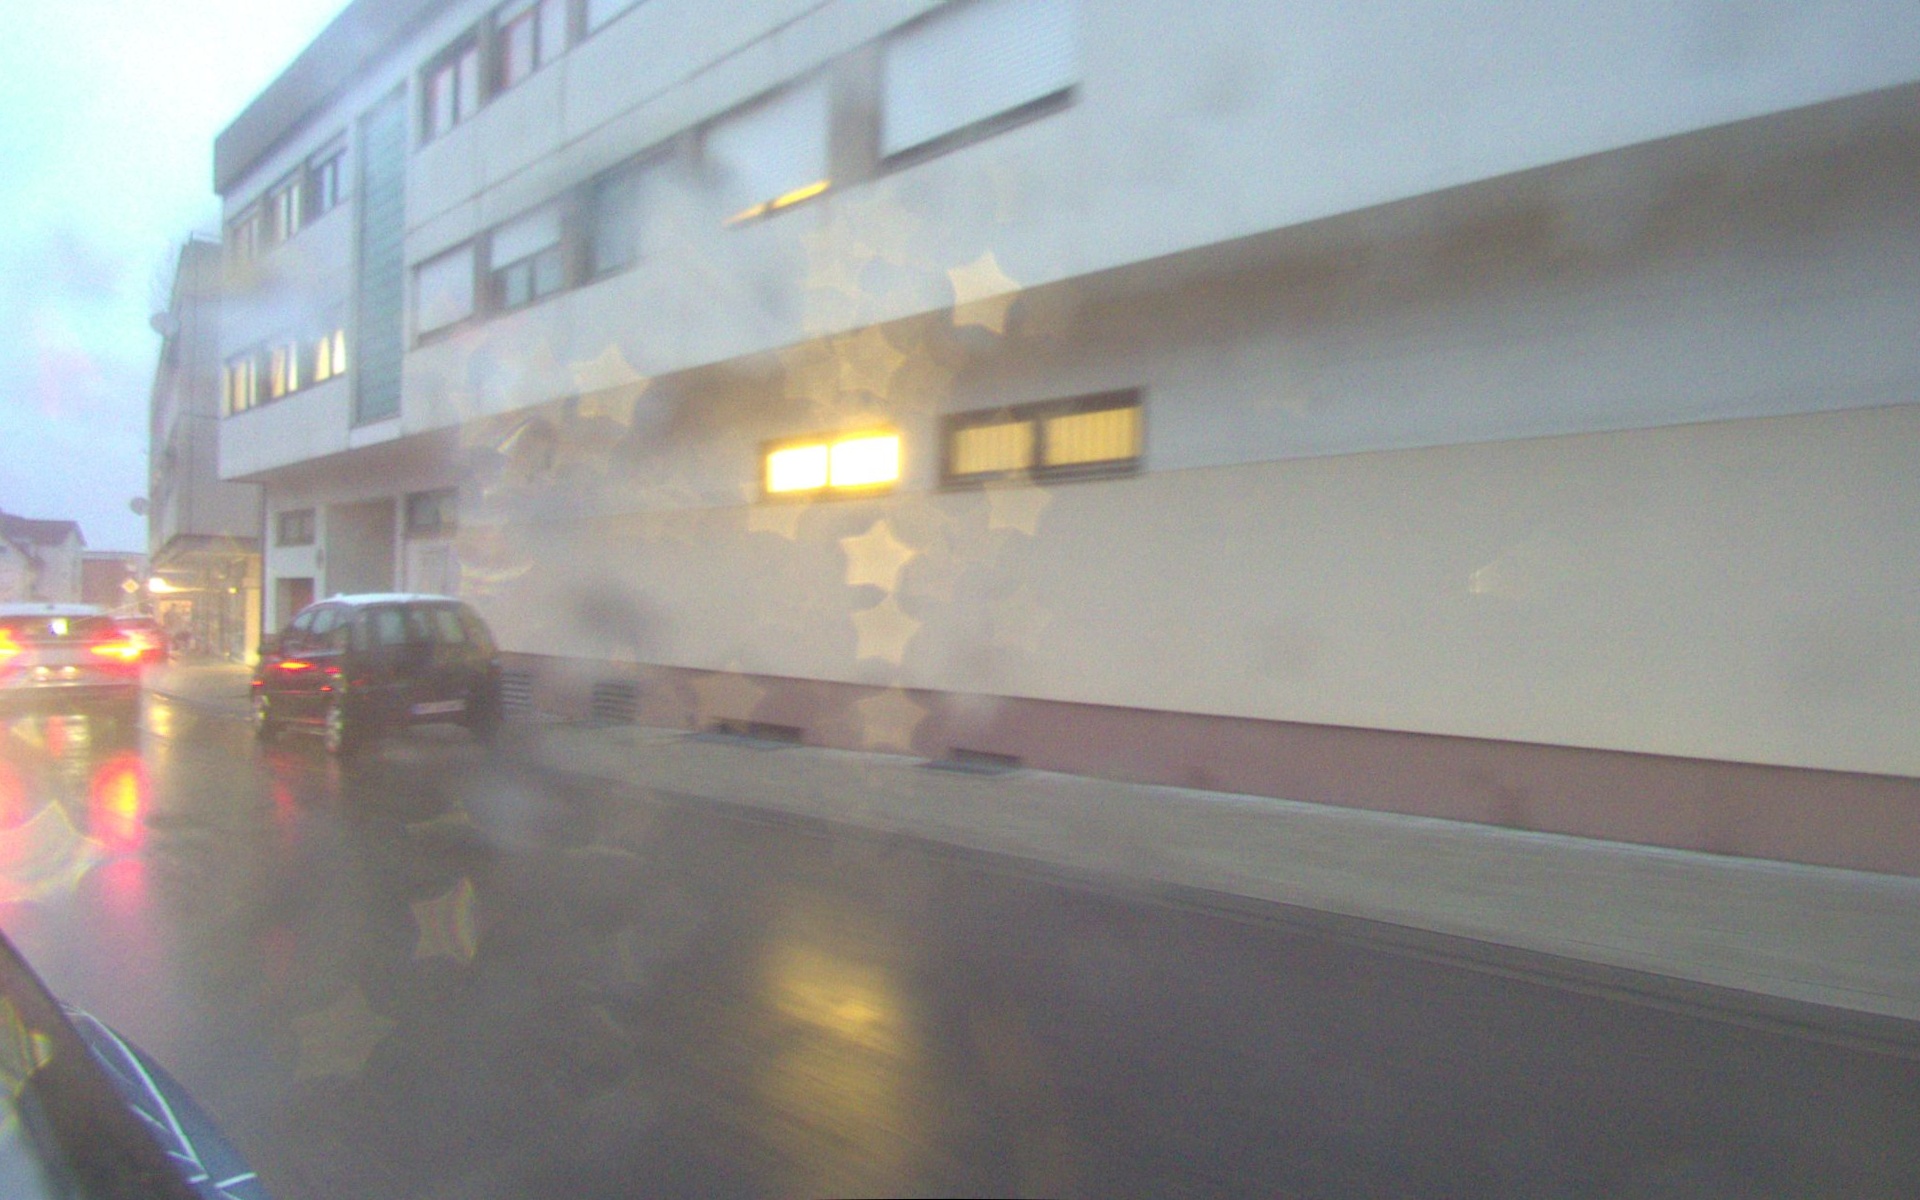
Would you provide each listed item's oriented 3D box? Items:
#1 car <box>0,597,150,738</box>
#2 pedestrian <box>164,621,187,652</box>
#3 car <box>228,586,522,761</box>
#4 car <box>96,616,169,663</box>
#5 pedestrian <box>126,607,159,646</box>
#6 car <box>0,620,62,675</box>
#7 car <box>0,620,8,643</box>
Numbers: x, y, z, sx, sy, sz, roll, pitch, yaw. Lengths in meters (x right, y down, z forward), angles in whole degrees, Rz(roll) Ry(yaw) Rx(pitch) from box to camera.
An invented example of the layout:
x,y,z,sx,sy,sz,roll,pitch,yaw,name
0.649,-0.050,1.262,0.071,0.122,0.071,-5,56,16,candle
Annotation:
x,y,z,sx,sy,sz,roll,pitch,yaw,name
-12.307,0.807,13.425,4.399,1.608,1.791,-1,-1,43,car
-34.709,1.599,44.788,0.746,1.320,0.829,-1,0,-42,pedestrian
-6.762,0.714,11.548,3.810,1.655,1.775,-1,0,41,car
-27.664,1.298,33.787,1.655,1.457,4.433,3,-3,-42,car
-41.190,1.333,51.017,1.182,1.953,0.979,1,-2,-33,pedestrian
-28.552,1.395,30.772,3.407,1.547,1.619,-1,-1,44,car
-66.941,2.126,69.600,1.771,1.522,4.007,3,-3,-39,car
